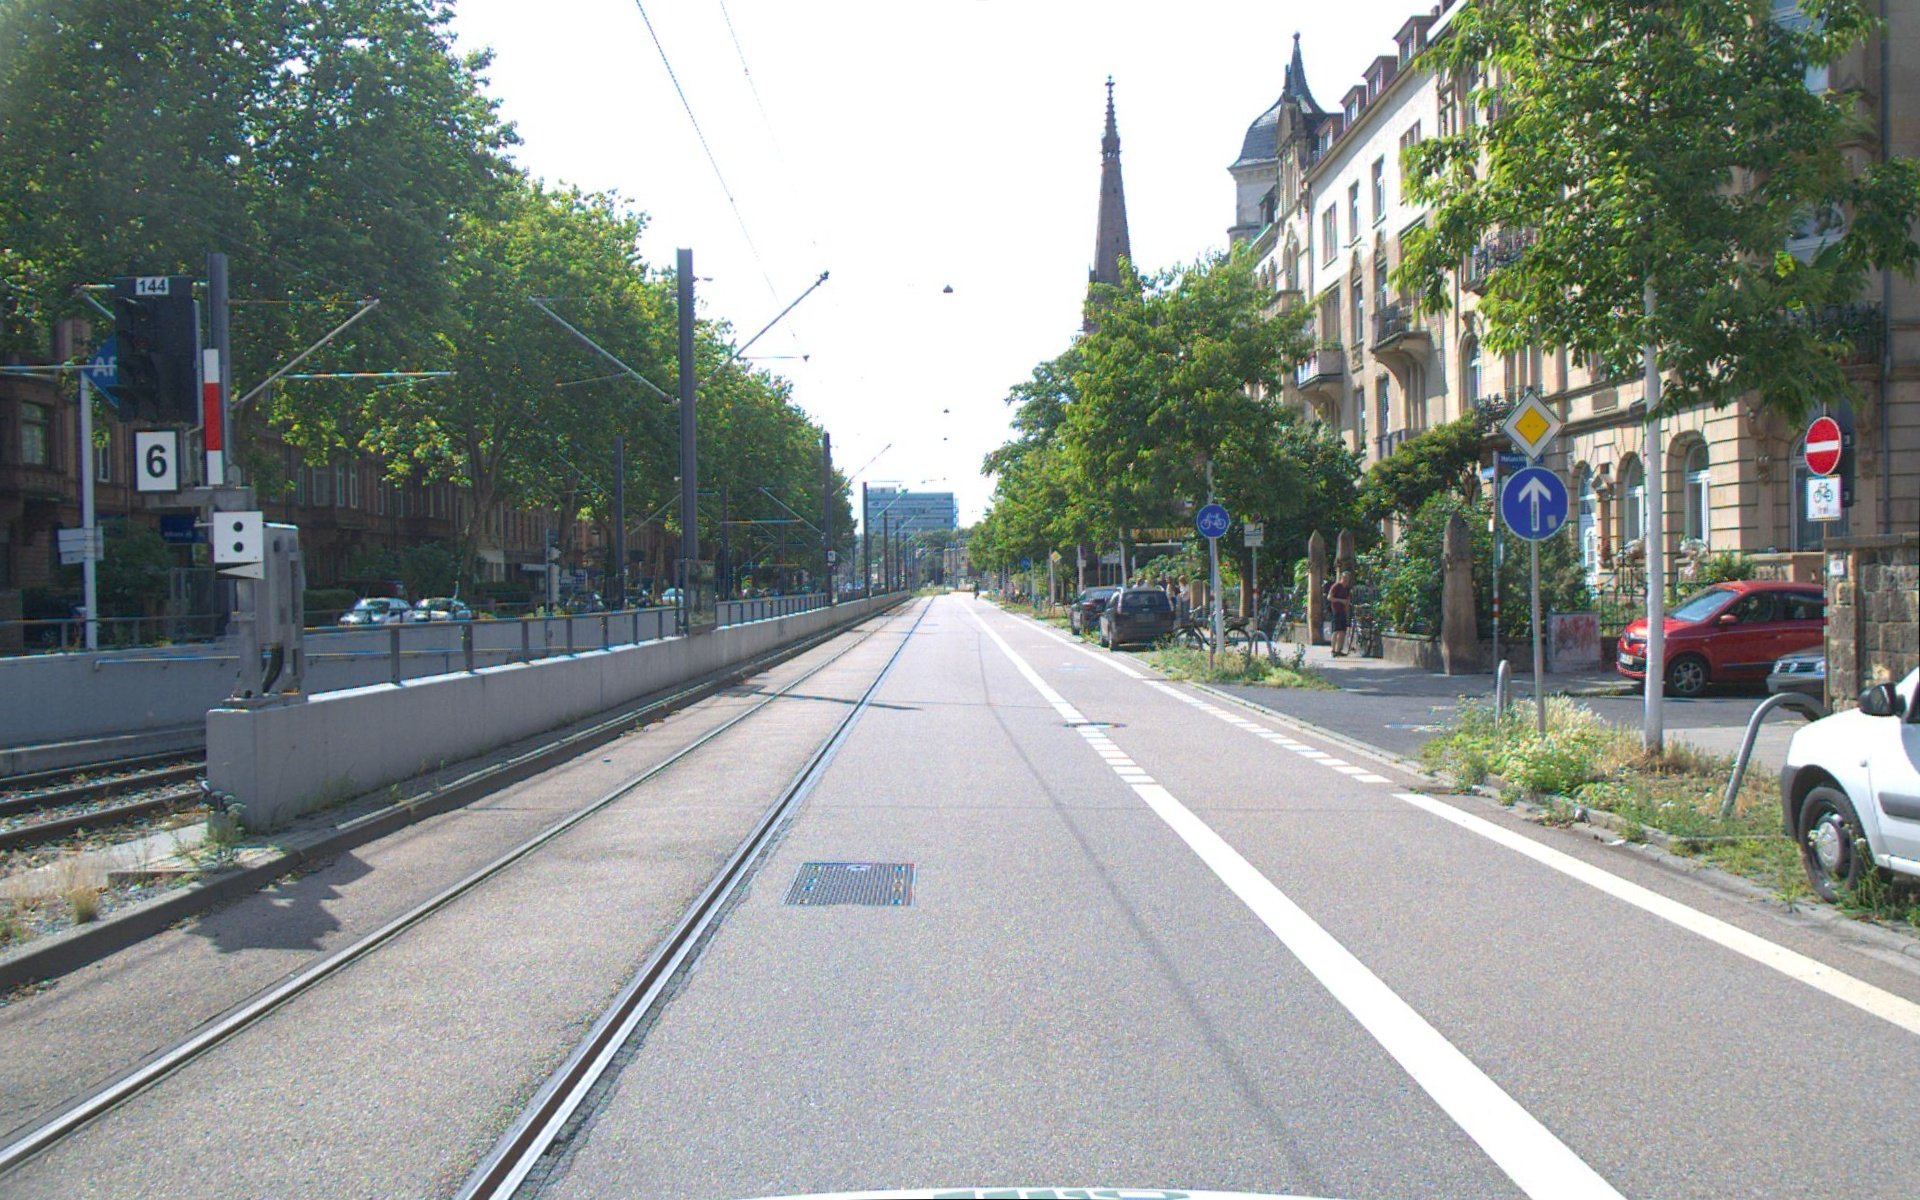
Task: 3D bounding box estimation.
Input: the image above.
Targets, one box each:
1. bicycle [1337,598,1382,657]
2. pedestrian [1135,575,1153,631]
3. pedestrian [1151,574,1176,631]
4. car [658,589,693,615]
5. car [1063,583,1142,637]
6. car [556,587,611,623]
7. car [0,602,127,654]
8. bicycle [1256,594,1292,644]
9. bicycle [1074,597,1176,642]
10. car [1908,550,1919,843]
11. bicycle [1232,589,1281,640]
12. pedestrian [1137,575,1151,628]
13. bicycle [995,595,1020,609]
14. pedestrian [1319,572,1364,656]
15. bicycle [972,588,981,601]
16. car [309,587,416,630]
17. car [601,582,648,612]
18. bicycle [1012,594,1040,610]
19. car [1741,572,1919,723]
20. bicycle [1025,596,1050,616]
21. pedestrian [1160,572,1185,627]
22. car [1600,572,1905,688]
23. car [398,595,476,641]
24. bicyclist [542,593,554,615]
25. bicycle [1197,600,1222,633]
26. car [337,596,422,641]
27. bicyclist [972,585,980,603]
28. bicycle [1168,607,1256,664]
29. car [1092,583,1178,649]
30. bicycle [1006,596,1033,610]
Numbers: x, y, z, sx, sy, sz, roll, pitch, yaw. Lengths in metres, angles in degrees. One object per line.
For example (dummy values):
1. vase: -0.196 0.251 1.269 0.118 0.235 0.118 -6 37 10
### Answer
1. bicycle: 7.940 0.533 32.941 0.460 1.127 1.711 -1 0 0
2. pedestrian: 6.129 0.108 55.046 0.450 1.836 0.319 -3 0 -2
3. pedestrian: 6.707 0.074 54.489 0.656 1.836 0.319 -4 0 -2
4. car: -20.713 0.147 120.724 1.801 1.757 4.000 -4 1 -1
5. car: 4.456 0.274 52.496 1.763 1.553 4.486 -3 1 -4
6. car: -19.960 0.247 87.760 1.682 1.720 3.733 -3 1 6
7. car: -28.120 0.869 50.931 3.904 1.509 2.000 -1 0 1
8. bicycle: 7.757 0.458 40.920 0.419 1.159 2.023 -4 0 0
9. bicycle: 4.894 0.572 48.984 2.896 1.268 0.790 -1 0 -14
10. car: 5.295 0.513 6.243 1.633 1.441 3.847 1 1 8
11. bicycle: 7.827 0.357 43.777 0.644 1.270 2.942 -4 0 0
12. pedestrian: 6.067 0.039 54.547 0.311 1.736 0.461 -3 0 13
13. bicycle: 3.647 0.160 127.444 1.780 0.918 0.603 -4 1 -4
14. pedestrian: 7.625 0.270 33.104 0.708 1.657 0.725 -1 0 -1
15. bicycle: 1.600 -0.509 161.491 0.783 1.258 2.777 -1 0 0
16. car: -28.148 0.387 78.054 4.313 1.952 1.999 -1 0 -2
17. car: -20.770 -0.223 102.533 1.952 1.665 4.001 -4 1 2
18. bicycle: 4.405 0.125 111.262 1.780 0.918 0.651 -4 1 -4
19. car: 11.266 0.497 18.534 4.166 1.583 1.756 -1 -2 -2
20. bicycle: 4.369 0.355 93.446 0.640 1.057 1.810 -4 1 -21
21. pedestrian: 6.798 -0.015 52.929 0.520 1.705 0.571 -4 0 -19
22. car: 11.641 0.430 24.477 3.664 1.583 1.757 -1 0 3
23. car: -19.558 0.655 62.010 1.610 1.508 4.001 -4 1 -1
24. bicyclist: -23.322 0.239 93.652 0.524 1.253 0.723 -1 0 -1
25. bicycle: 7.683 0.495 50.907 0.419 0.956 1.807 -4 0 0
26. car: -19.490 0.603 55.659 1.466 1.326 3.492 -4 1 2
27. bicyclist: 1.601 -0.586 161.503 0.755 1.760 1.026 -1 0 0
28. bicycle: 5.079 0.711 33.401 1.673 1.088 0.470 -1 0 -7
29. car: 4.439 0.374 42.478 1.651 1.528 4.708 -2 1 0
30. bicycle: 4.193 0.216 116.195 1.780 0.918 0.603 -4 1 -4
